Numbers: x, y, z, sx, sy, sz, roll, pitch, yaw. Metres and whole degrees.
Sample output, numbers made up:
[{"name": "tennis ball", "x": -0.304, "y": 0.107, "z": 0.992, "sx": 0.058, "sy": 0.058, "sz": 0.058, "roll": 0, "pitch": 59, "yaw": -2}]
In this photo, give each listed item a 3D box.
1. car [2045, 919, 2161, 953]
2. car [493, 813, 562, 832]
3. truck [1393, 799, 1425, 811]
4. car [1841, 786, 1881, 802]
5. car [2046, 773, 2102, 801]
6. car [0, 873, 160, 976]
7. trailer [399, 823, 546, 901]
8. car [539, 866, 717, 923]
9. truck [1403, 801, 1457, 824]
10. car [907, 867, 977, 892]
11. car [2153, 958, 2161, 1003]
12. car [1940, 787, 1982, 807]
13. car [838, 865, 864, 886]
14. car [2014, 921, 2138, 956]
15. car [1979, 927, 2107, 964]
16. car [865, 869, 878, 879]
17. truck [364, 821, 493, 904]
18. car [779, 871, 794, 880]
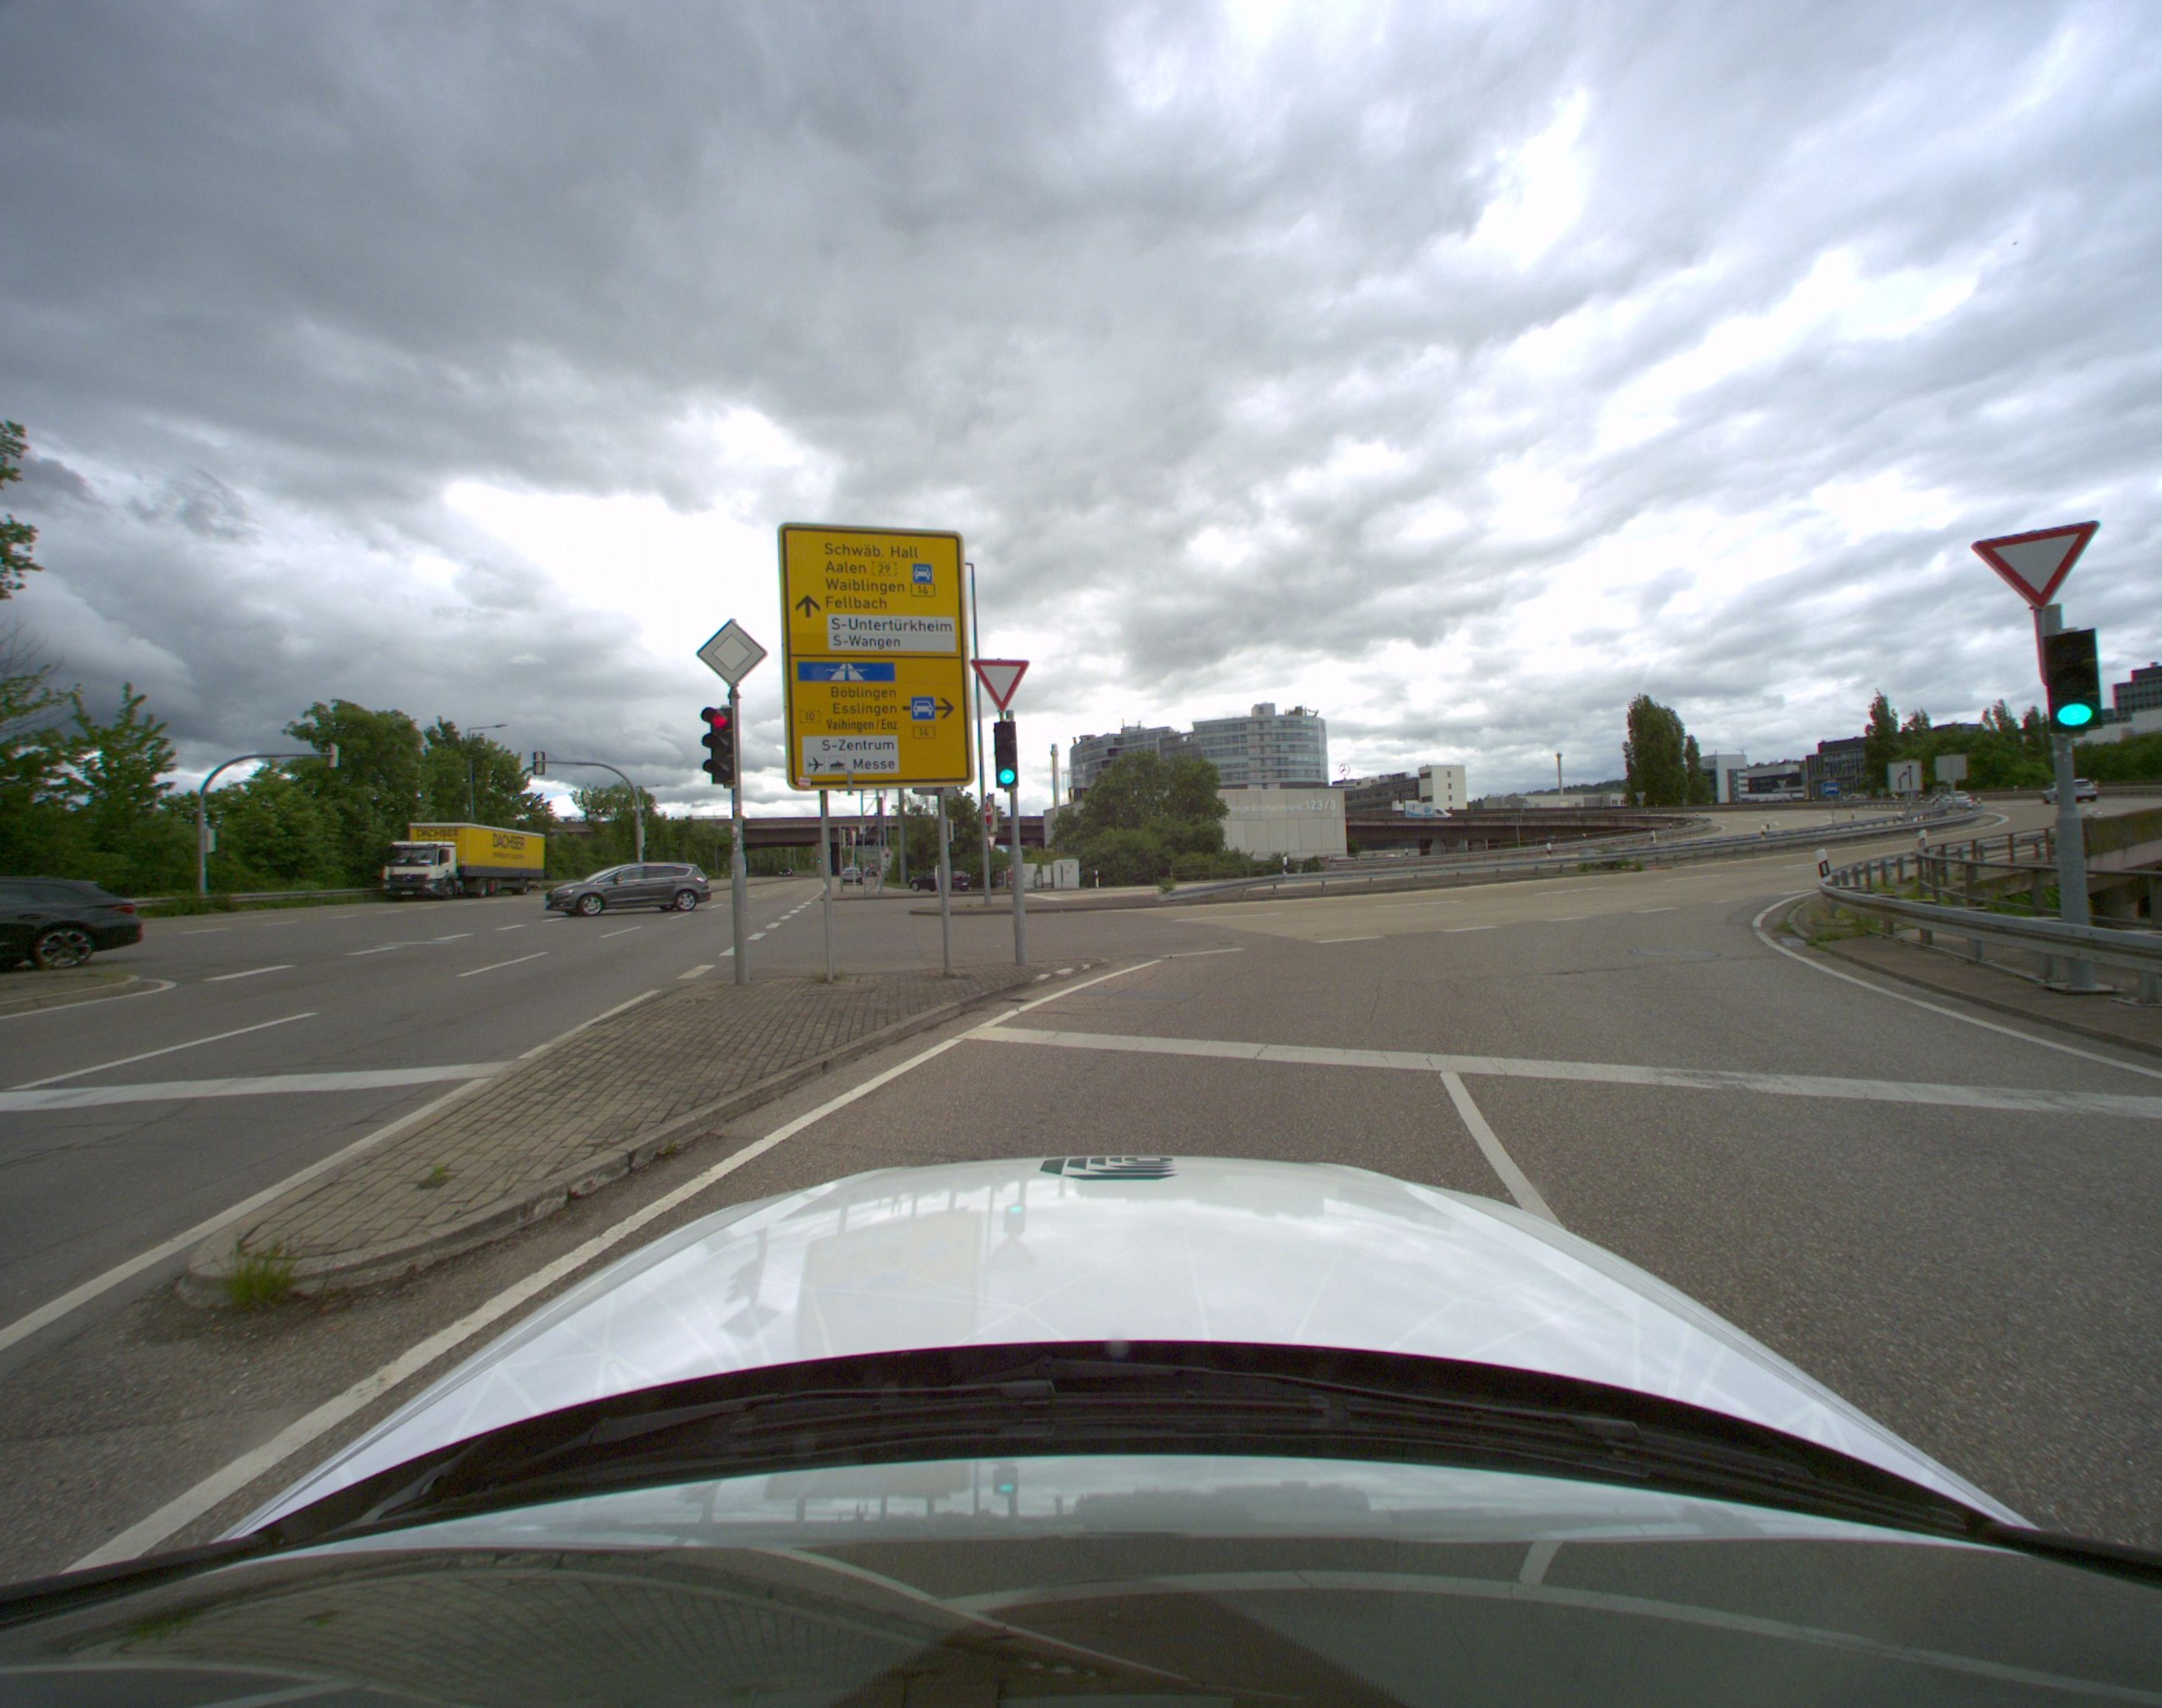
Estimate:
[{"name": "car", "x": 54.789, "y": 4.324, "z": 43.603, "sx": 1.832, "sy": 1.354, "sz": 3.827, "roll": -3, "pitch": 1, "yaw": -29}, {"name": "car", "x": -110.172, "y": -6.247, "z": 162.133, "sx": 11.093, "sy": 3.030, "sz": 3.489, "roll": 2, "pitch": 0, "yaw": -2}, {"name": "truck", "x": 66.211, "y": -9.821, "z": 164.360, "sx": 5.605, "sy": 2.164, "sz": 1.999, "roll": -1, "pitch": -1, "yaw": -1}, {"name": "car", "x": 93.111, "y": -7.135, "z": 97.292, "sx": 1.710, "sy": 1.461, "sz": 4.264, "roll": -4, "pitch": -2, "yaw": 19}, {"name": "car", "x": 72.771, "y": -4.867, "z": 59.739, "sx": 1.707, "sy": 1.737, "sz": 4.584, "roll": -2, "pitch": 0, "yaw": 40}, {"name": "car", "x": -17.086, "y": 1.094, "z": 11.732, "sx": 1.934, "sy": 1.457, "sz": 4.641, "roll": -1, "pitch": 1, "yaw": 16}, {"name": "trailer", "x": -36.007, "y": 0.465, "z": 48.908, "sx": 2.876, "sy": 4.084, "sz": 11.370, "roll": 1, "pitch": 0, "yaw": -14}, {"name": "car", "x": -14.730, "y": 1.242, "z": 26.698, "sx": 1.931, "sy": 1.571, "sz": 4.722, "roll": -1, "pitch": 1, "yaw": 44}, {"name": "truck", "x": 54.163, "y": -6.381, "z": 126.488, "sx": 7.254, "sy": 3.269, "sz": 2.345, "roll": -1, "pitch": -1, "yaw": 36}, {"name": "car", "x": -8.593, "y": 1.581, "z": 50.374, "sx": 3.942, "sy": 1.422, "sz": 1.927, "roll": -3, "pitch": -3, "yaw": 30}, {"name": "car", "x": 41.529, "y": 4.569, "z": 29.907, "sx": 4.007, "sy": 1.534, "sz": 1.812, "roll": -3, "pitch": 1, "yaw": -25}, {"name": "car", "x": 74.768, "y": -4.827, "z": 69.256, "sx": 1.707, "sy": 1.400, "sz": 4.092, "roll": -2, "pitch": 0, "yaw": 37}, {"name": "car", "x": -19.909, "y": 1.813, "z": 70.600, "sx": 1.911, "sy": 1.662, "sz": 4.726, "roll": 2, "pitch": 0, "yaw": -13}, {"name": "car", "x": 52.093, "y": 4.408, "z": 42.704, "sx": 1.832, "sy": 1.354, "sz": 3.827, "roll": -3, "pitch": 1, "yaw": -29}, {"name": "car", "x": 48.055, "y": 4.539, "z": 40.761, "sx": 1.832, "sy": 1.354, "sz": 3.827, "roll": -3, "pitch": 1, "yaw": -29}, {"name": "car", "x": -33.792, "y": 3.253, "z": 131.430, "sx": 1.998, "sy": 1.464, "sz": 4.086, "roll": 0, "pitch": -3, "yaw": -16}, {"name": "truck", "x": -34.680, "y": 0.425, "z": 43.622, "sx": 2.876, "sy": 4.084, "sz": 6.455, "roll": 1, "pitch": 0, "yaw": -14}, {"name": "car", "x": -54.325, "y": 3.978, "z": 150.249, "sx": 1.863, "sy": 1.383, "sz": 3.855, "roll": 2, "pitch": 1, "yaw": -10}]
